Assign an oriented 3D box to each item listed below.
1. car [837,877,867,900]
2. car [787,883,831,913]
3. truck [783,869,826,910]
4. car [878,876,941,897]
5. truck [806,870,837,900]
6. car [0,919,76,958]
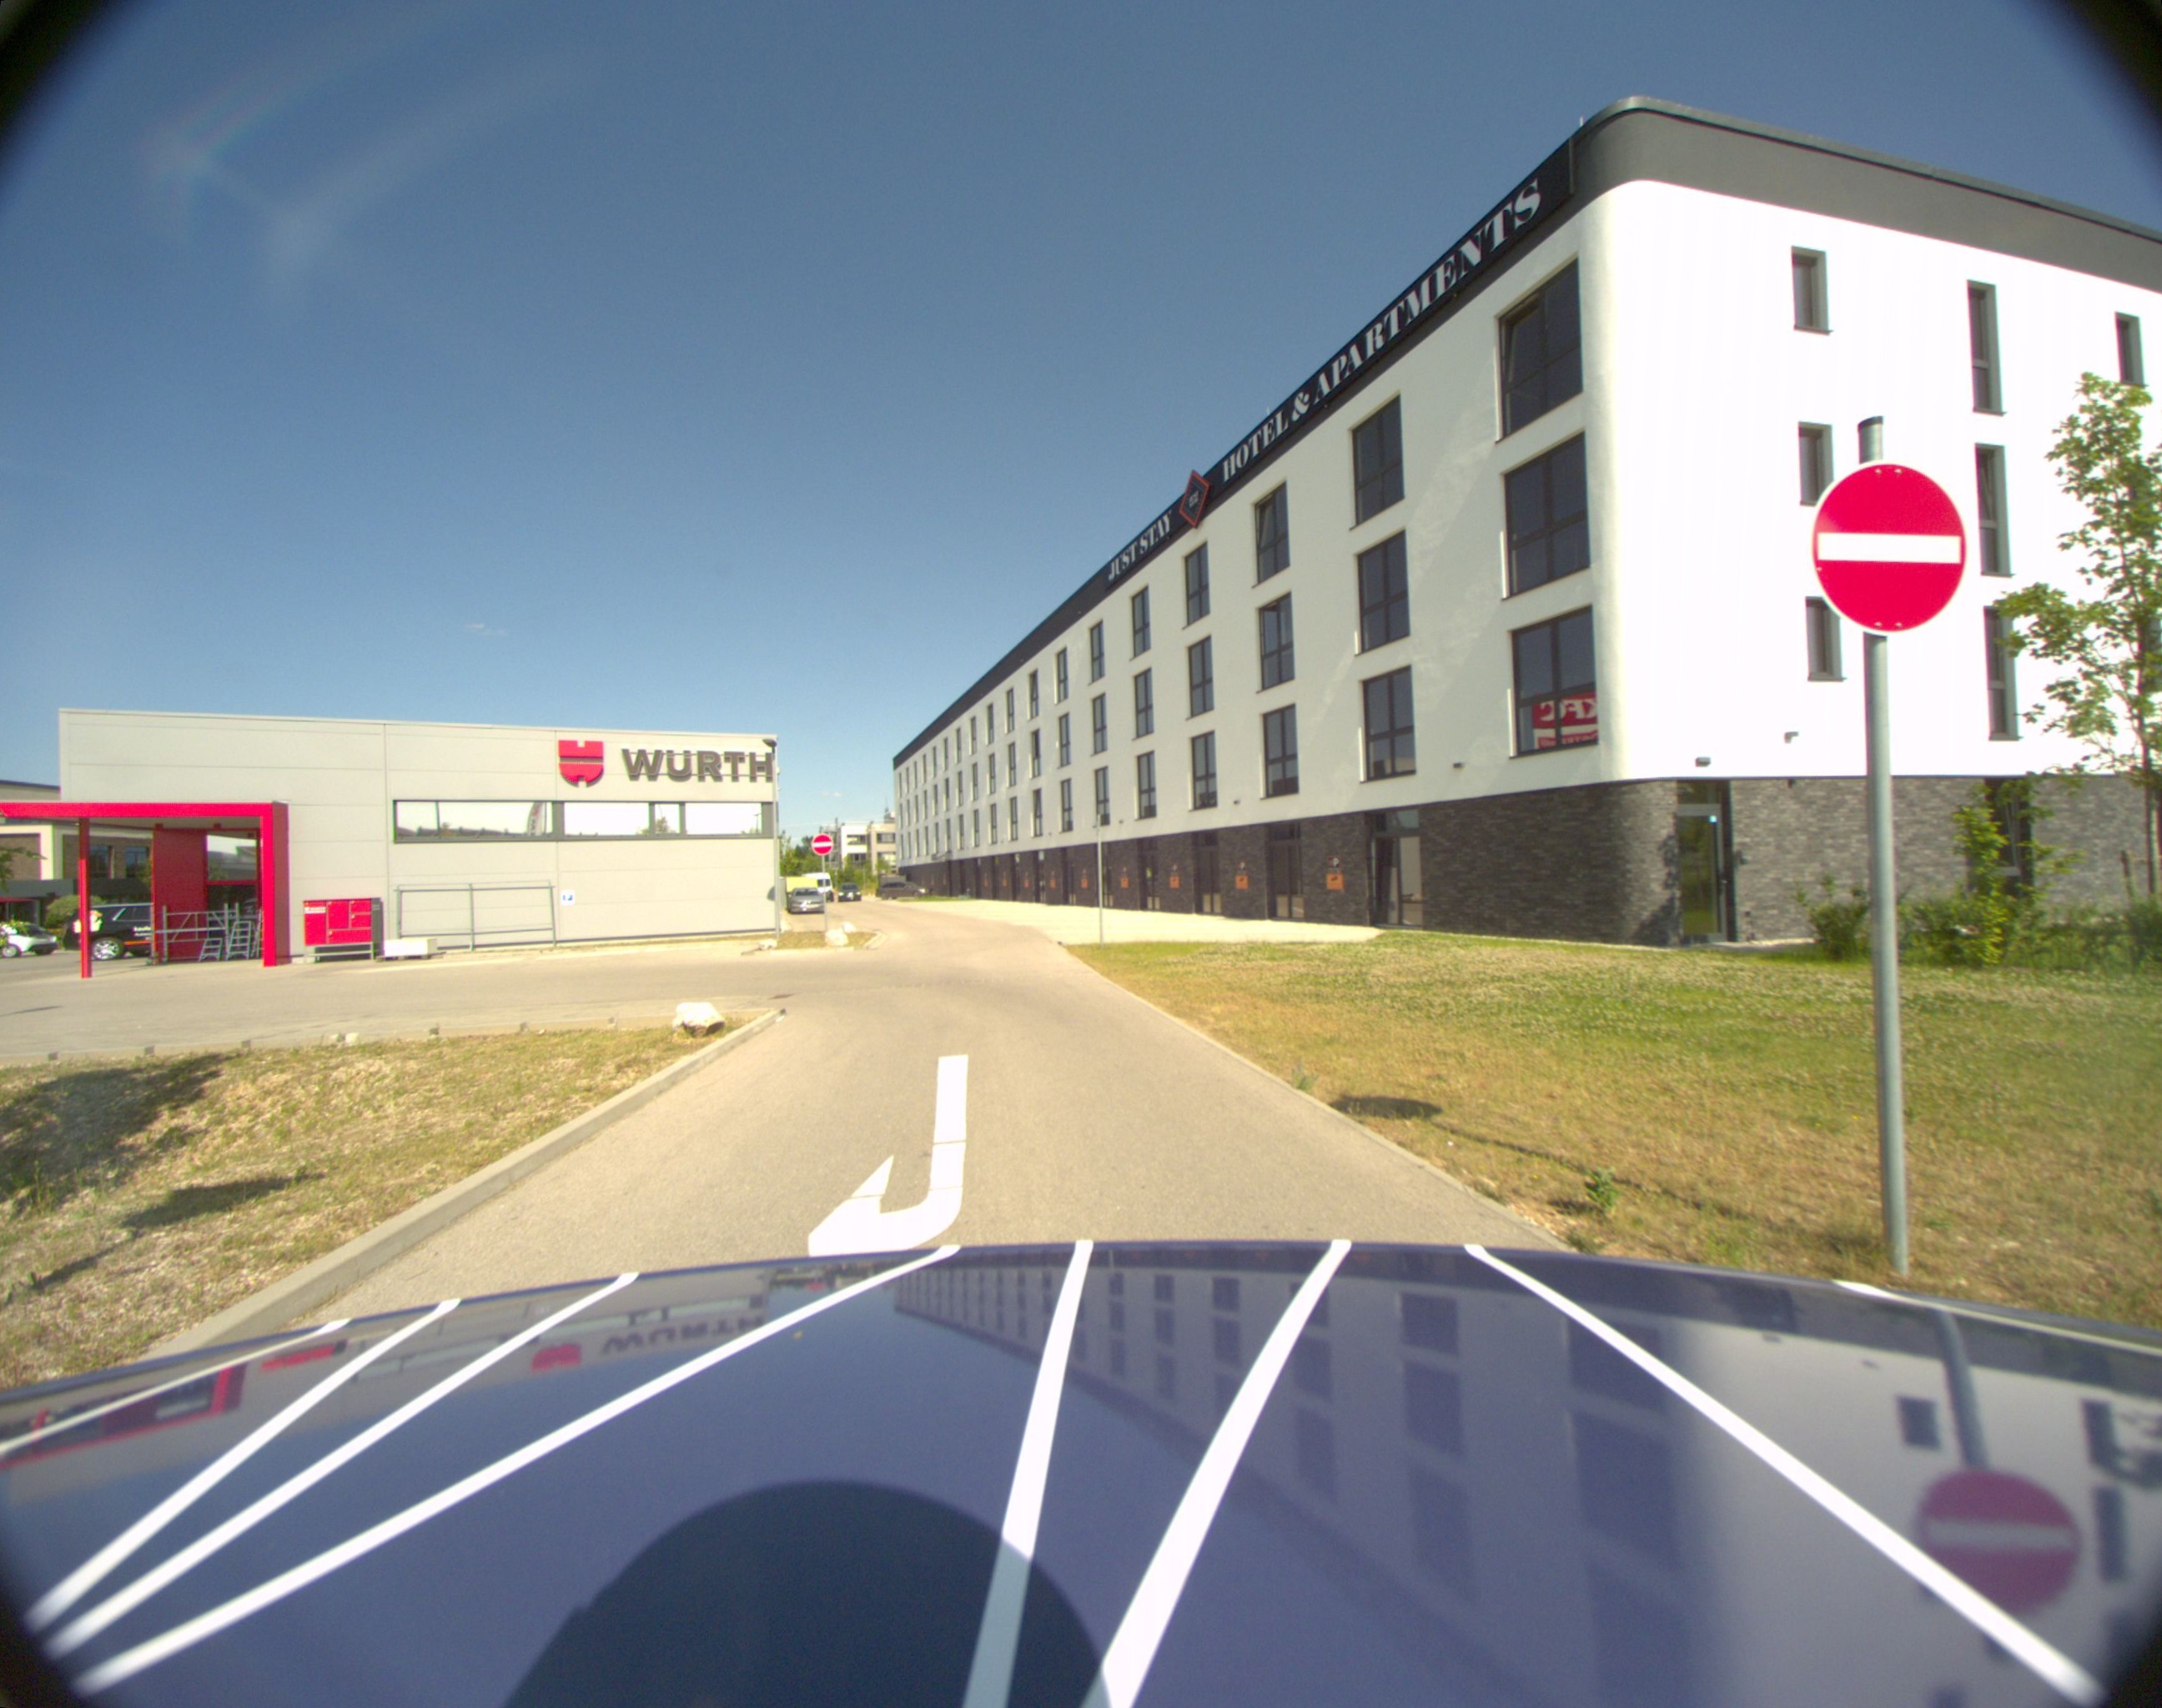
[{"bbox_3d":[-18.617,2.778,61.863,1.719,1.608,3.997,-2,0,-9],"label":"car"},{"bbox_3d":[-15.201,2.415,42.365,1.882,1.499,3.993,-2,-1,-25],"label":"car"},{"bbox_3d":[-17.727,2.249,48.537,2.126,2.362,5.880,-2,-1,-23],"label":"truck"},{"bbox_3d":[-13.684,2.593,60.691,4.517,1.499,1.881,-3,-1,13],"label":"car"},{"bbox_3d":[-21.984,2.604,64.240,2.002,2.362,5.880,-2,-1,-23],"label":"truck"},{"bbox_3d":[-46.820,3.716,32.699,3.917,1.465,1.801,-2,-1,-19],"label":"car"}]
